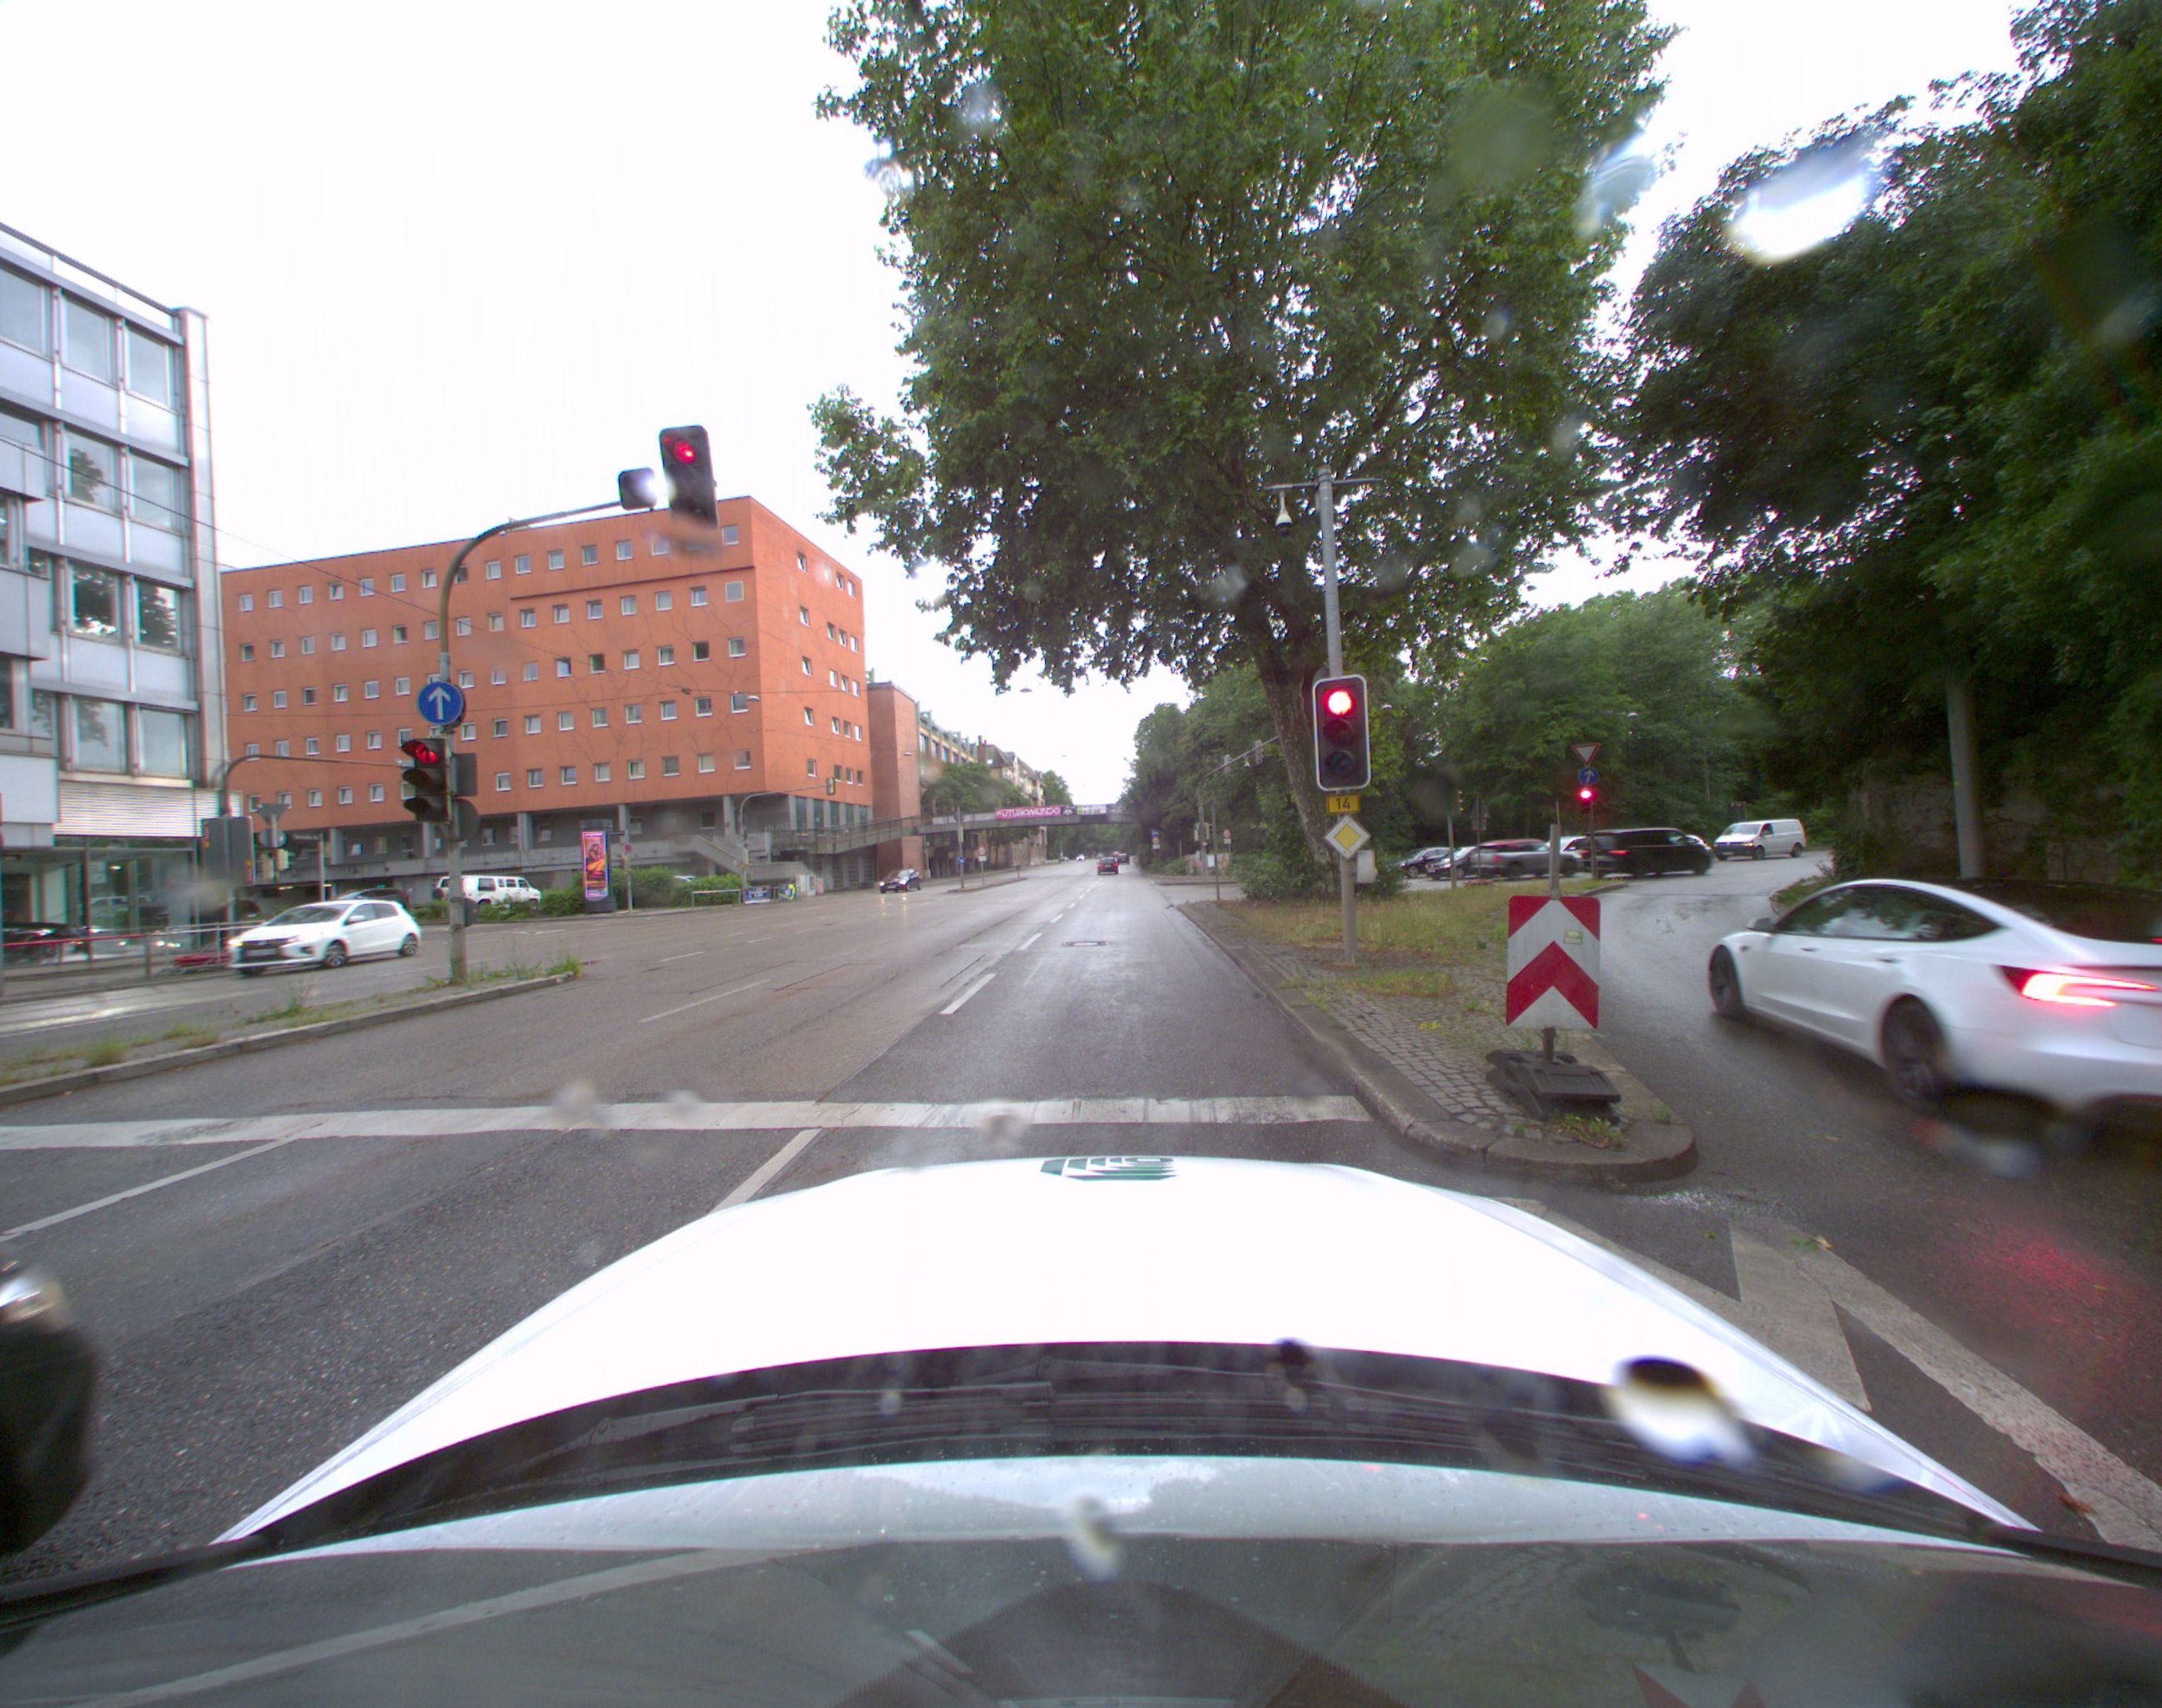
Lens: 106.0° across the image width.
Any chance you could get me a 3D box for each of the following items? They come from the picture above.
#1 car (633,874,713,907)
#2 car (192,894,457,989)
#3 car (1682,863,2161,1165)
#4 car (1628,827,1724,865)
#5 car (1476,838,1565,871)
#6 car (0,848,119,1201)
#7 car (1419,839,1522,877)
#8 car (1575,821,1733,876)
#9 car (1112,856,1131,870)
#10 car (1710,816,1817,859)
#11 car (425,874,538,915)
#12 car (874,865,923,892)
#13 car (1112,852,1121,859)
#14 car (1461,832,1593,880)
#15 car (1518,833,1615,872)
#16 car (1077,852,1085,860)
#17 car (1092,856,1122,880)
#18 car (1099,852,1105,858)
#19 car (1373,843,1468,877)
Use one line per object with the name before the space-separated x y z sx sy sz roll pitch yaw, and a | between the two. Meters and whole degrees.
car | -25.172 2.245 50.280 3.988 1.618 1.900 -5 -1 11
car | -17.193 1.889 18.951 1.992 1.637 4.812 -5 -1 -7
car | 6.243 0.815 5.859 1.820 1.432 4.293 2 0 18
car | 29.274 -0.392 40.104 3.999 1.486 1.763 -4 -1 -18
car | 22.072 0.022 40.951 3.834 1.486 1.734 -3 0 -18
car | -6.081 0.841 1.853 1.938 1.597 4.678 -3 0 6
car | 17.145 0.190 35.913 3.859 1.485 1.665 -2 -1 -14
car | 21.706 -0.195 30.914 5.081 1.846 1.991 -2 -1 -13
car | 5.591 1.247 113.667 2.124 1.836 4.348 -5 -1 -3
car | 34.887 -0.836 41.629 4.858 1.922 1.897 -3 -1 -18
car | -32.773 2.176 44.722 1.981 2.014 4.865 1 -1 10
car | -11.417 1.524 51.211 1.986 1.519 4.002 -3 -1 2
car | 9.696 0.302 220.828 2.114 1.735 4.197 -1 0 -1
car | 18.191 0.084 33.294 4.513 1.637 1.874 -4 0 -11
car | 22.548 -0.077 37.793 4.283 1.486 1.758 -4 -1 -27
car | 0.012 0.443 202.253 1.757 1.925 3.707 -5 -1 2
car | 2.253 1.202 71.219 2.124 1.836 4.348 -5 -1 -3
car | 6.092 0.338 234.812 1.757 1.697 3.707 -5 -1 2
car | 16.567 0.309 39.733 3.998 1.486 1.867 -2 -1 -18
